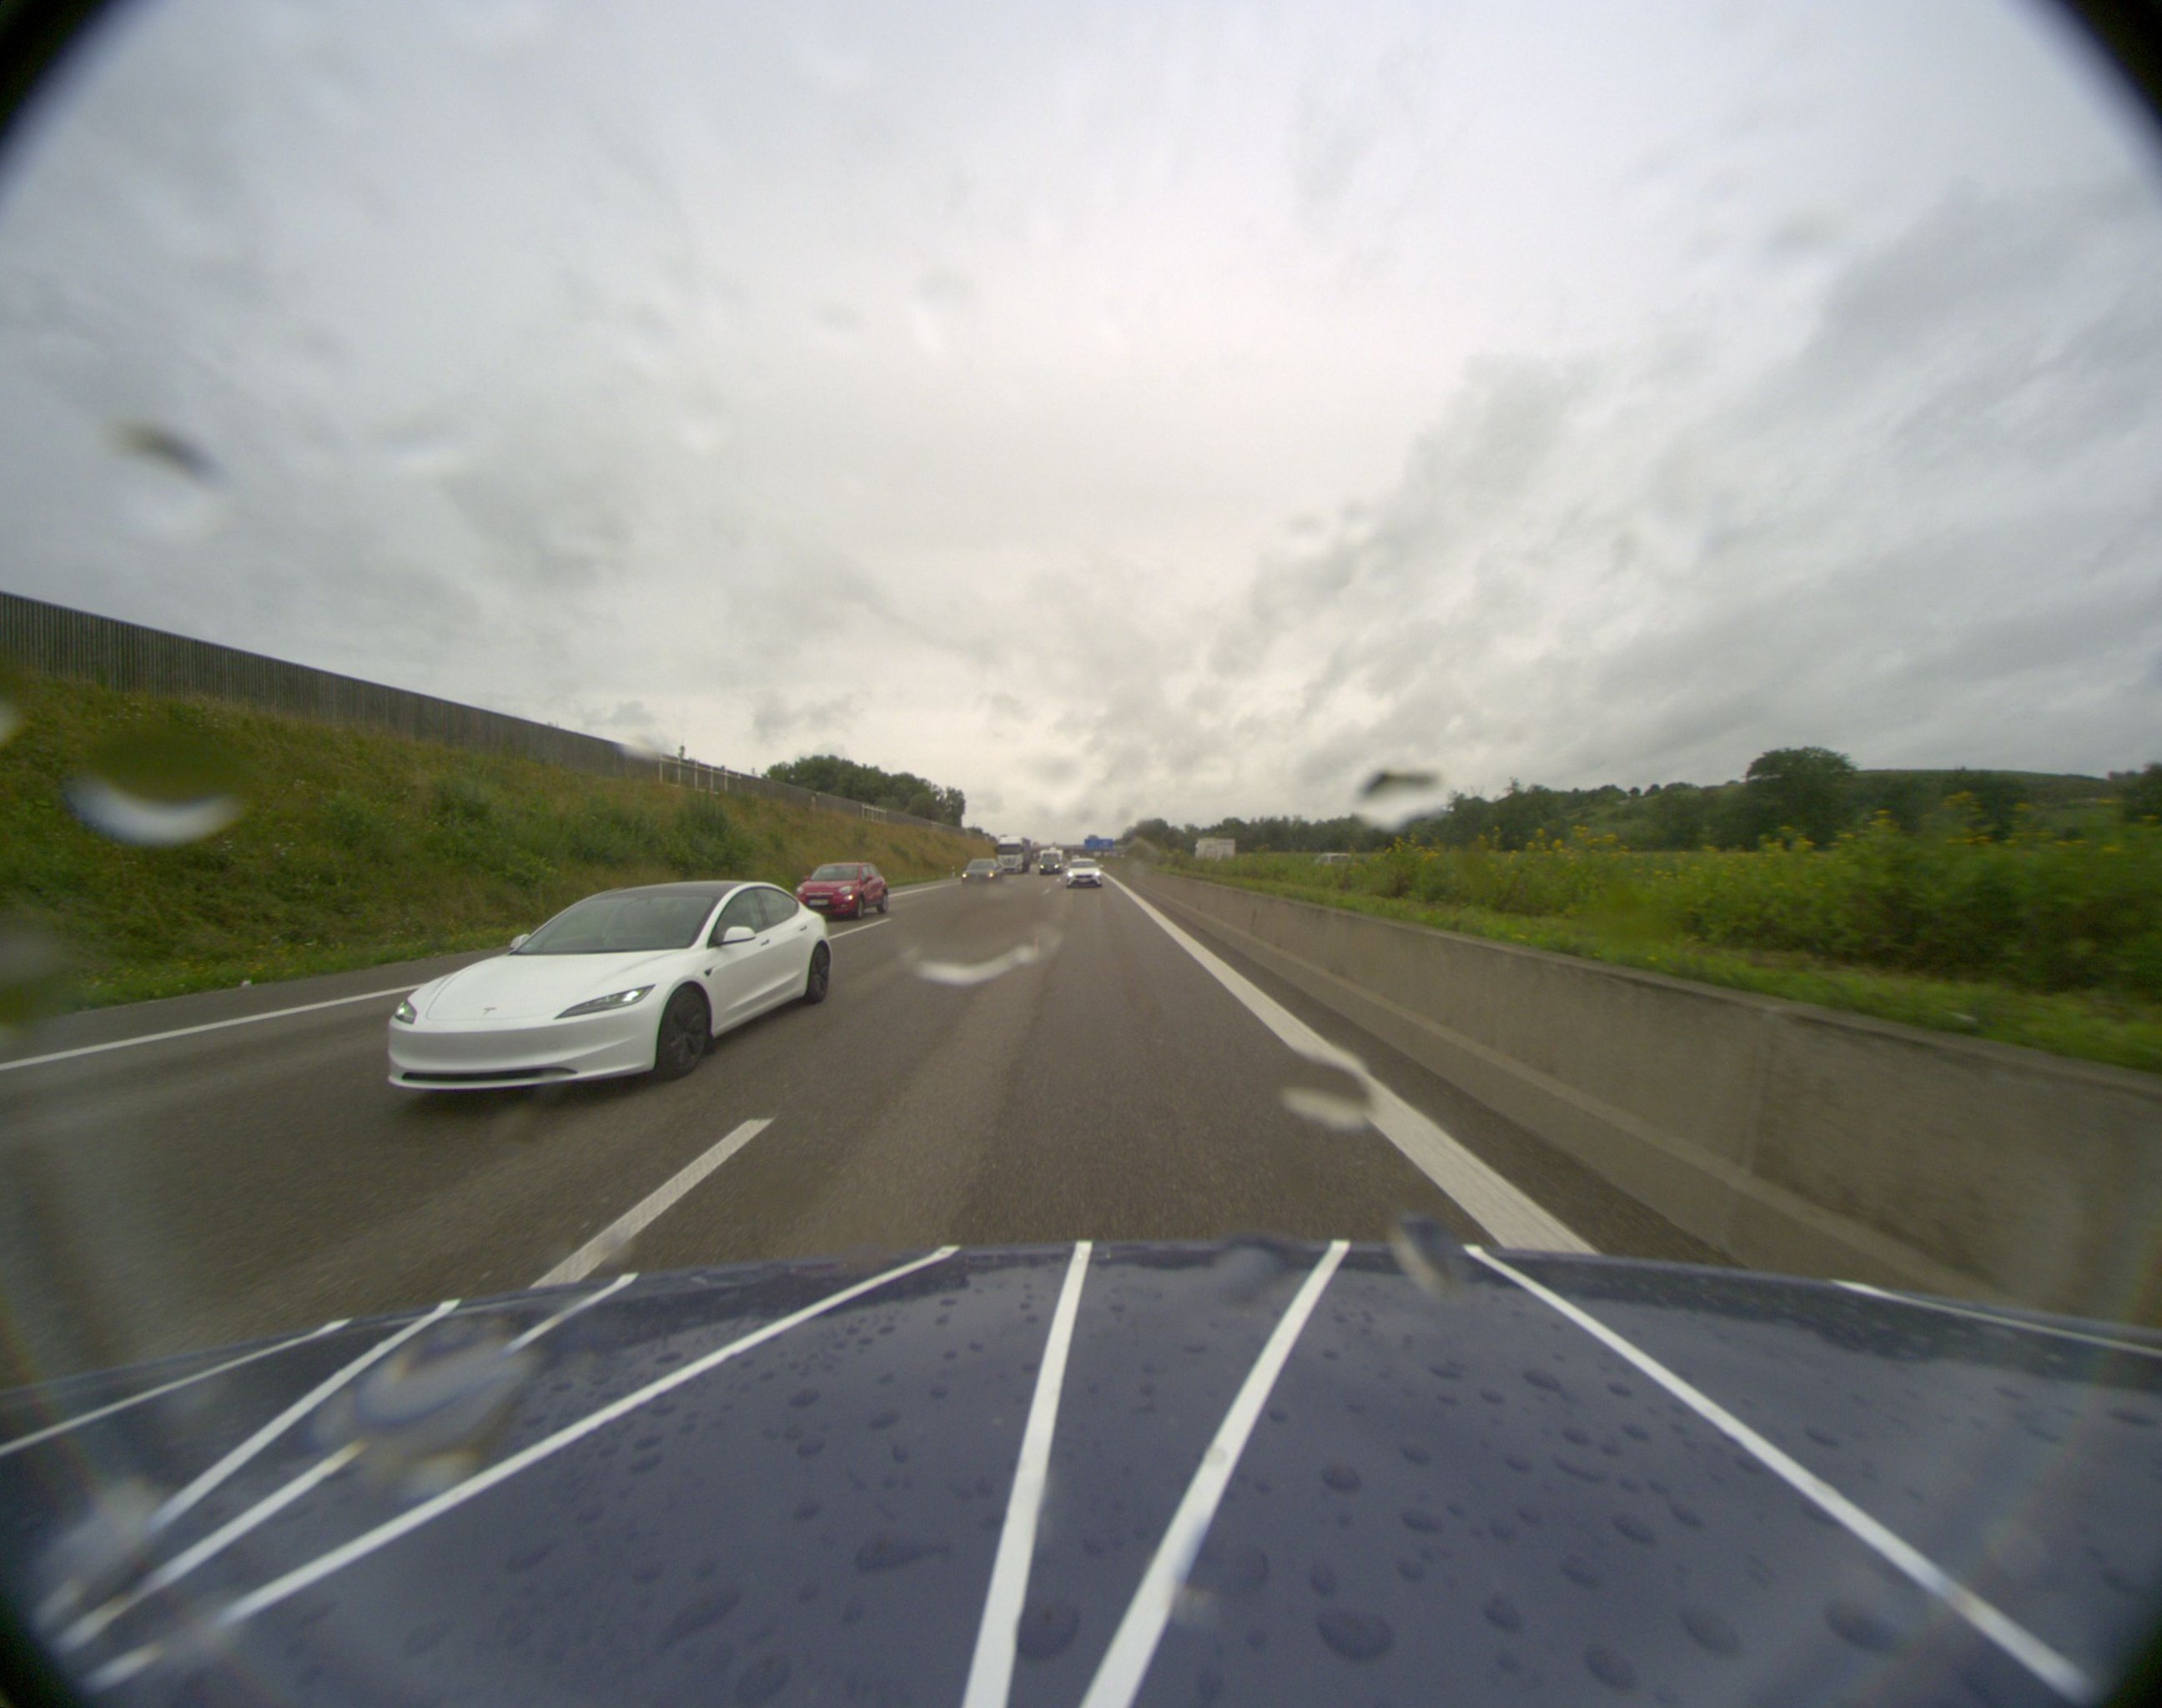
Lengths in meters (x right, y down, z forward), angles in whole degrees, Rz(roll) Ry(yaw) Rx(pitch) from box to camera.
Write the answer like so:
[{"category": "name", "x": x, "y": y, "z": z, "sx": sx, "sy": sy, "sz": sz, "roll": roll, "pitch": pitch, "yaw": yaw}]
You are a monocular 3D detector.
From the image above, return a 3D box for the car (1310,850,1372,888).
[{"category": "car", "x": 14.535, "y": 0.781, "z": 42.796, "sx": 1.998, "sy": 2.002, "sz": 4.348, "roll": 1, "pitch": 0, "yaw": 0}]

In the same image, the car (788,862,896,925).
[{"category": "car", "x": -6.848, "y": 1.066, "z": 22.234, "sx": 1.878, "sy": 1.526, "sz": 3.999, "roll": -2, "pitch": 1, "yaw": -1}]

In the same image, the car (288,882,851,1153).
[{"category": "car", "x": -3.836, "y": 1.088, "z": 7.026, "sx": 1.878, "sy": 1.355, "sz": 4.812, "roll": -2, "pitch": 1, "yaw": 0}]

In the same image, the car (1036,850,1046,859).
[{"category": "car", "x": -8.796, "y": 0.114, "z": 167.413, "sx": 1.999, "sy": 2.002, "sz": 4.262, "roll": -1, "pitch": 0, "yaw": -1}]

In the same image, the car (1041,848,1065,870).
[{"category": "car", "x": -2.669, "y": 0.426, "z": 74.568, "sx": 1.998, "sy": 2.002, "sz": 4.938, "roll": -2, "pitch": 1, "yaw": 1}]

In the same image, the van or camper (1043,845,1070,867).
[{"category": "van or camper", "x": -2.524, "y": 0.134, "z": 79.775, "sx": 2.432, "sy": 2.139, "sz": 6.498, "roll": -2, "pitch": 1, "yaw": 1}]

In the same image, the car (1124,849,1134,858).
[{"category": "car", "x": 10.802, "y": -0.120, "z": 171.240, "sx": 1.998, "sy": 2.002, "sz": 5.068, "roll": -2, "pitch": 0, "yaw": 0}]

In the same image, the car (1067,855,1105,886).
[{"category": "car", "x": 0.296, "y": 0.823, "z": 40.073, "sx": 1.840, "sy": 1.455, "sz": 4.000, "roll": -2, "pitch": 1, "yaw": 1}]

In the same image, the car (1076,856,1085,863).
[{"category": "car", "x": -0.095, "y": 1.264, "z": 190.479, "sx": 1.999, "sy": 1.696, "sz": 4.483, "roll": -2, "pitch": 0, "yaw": -3}]

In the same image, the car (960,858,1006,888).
[{"category": "car", "x": -5.533, "y": 1.045, "z": 43.457, "sx": 1.929, "sy": 1.480, "sz": 4.485, "roll": -2, "pitch": 1, "yaw": 1}]

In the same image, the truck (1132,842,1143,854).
[{"category": "truck", "x": 16.457, "y": -1.795, "z": 221.658, "sx": 2.763, "sy": 3.324, "sz": 4.520, "roll": -2, "pitch": 1, "yaw": -1}]

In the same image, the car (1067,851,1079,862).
[{"category": "car", "x": -1.284, "y": 0.324, "z": 123.119, "sx": 1.998, "sy": 1.759, "sz": 4.000, "roll": 0, "pitch": 0, "yaw": 0}]

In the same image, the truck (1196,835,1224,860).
[{"category": "truck", "x": 18.568, "y": -0.930, "z": 109.697, "sx": 2.977, "sy": 3.409, "sz": 5.627, "roll": -2, "pitch": 1, "yaw": -1}]

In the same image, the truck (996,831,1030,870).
[{"category": "truck", "x": -7.370, "y": -0.363, "z": 83.292, "sx": 3.090, "sy": 4.003, "sz": 6.955, "roll": -2, "pitch": 1, "yaw": -1}]

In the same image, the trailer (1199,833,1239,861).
[{"category": "trailer", "x": 18.575, "y": -0.924, "z": 103.051, "sx": 2.922, "sy": 3.409, "sz": 13.240, "roll": -2, "pitch": 1, "yaw": 0}]

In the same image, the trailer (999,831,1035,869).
[{"category": "trailer", "x": -7.487, "y": -0.497, "z": 90.744, "sx": 3.090, "sy": 4.003, "sz": 15.219, "roll": -2, "pitch": 1, "yaw": -1}]

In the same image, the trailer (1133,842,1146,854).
[{"category": "trailer", "x": 16.562, "y": -1.767, "z": 215.493, "sx": 2.794, "sy": 3.309, "sz": 9.924, "roll": -2, "pitch": 1, "yaw": -1}]
